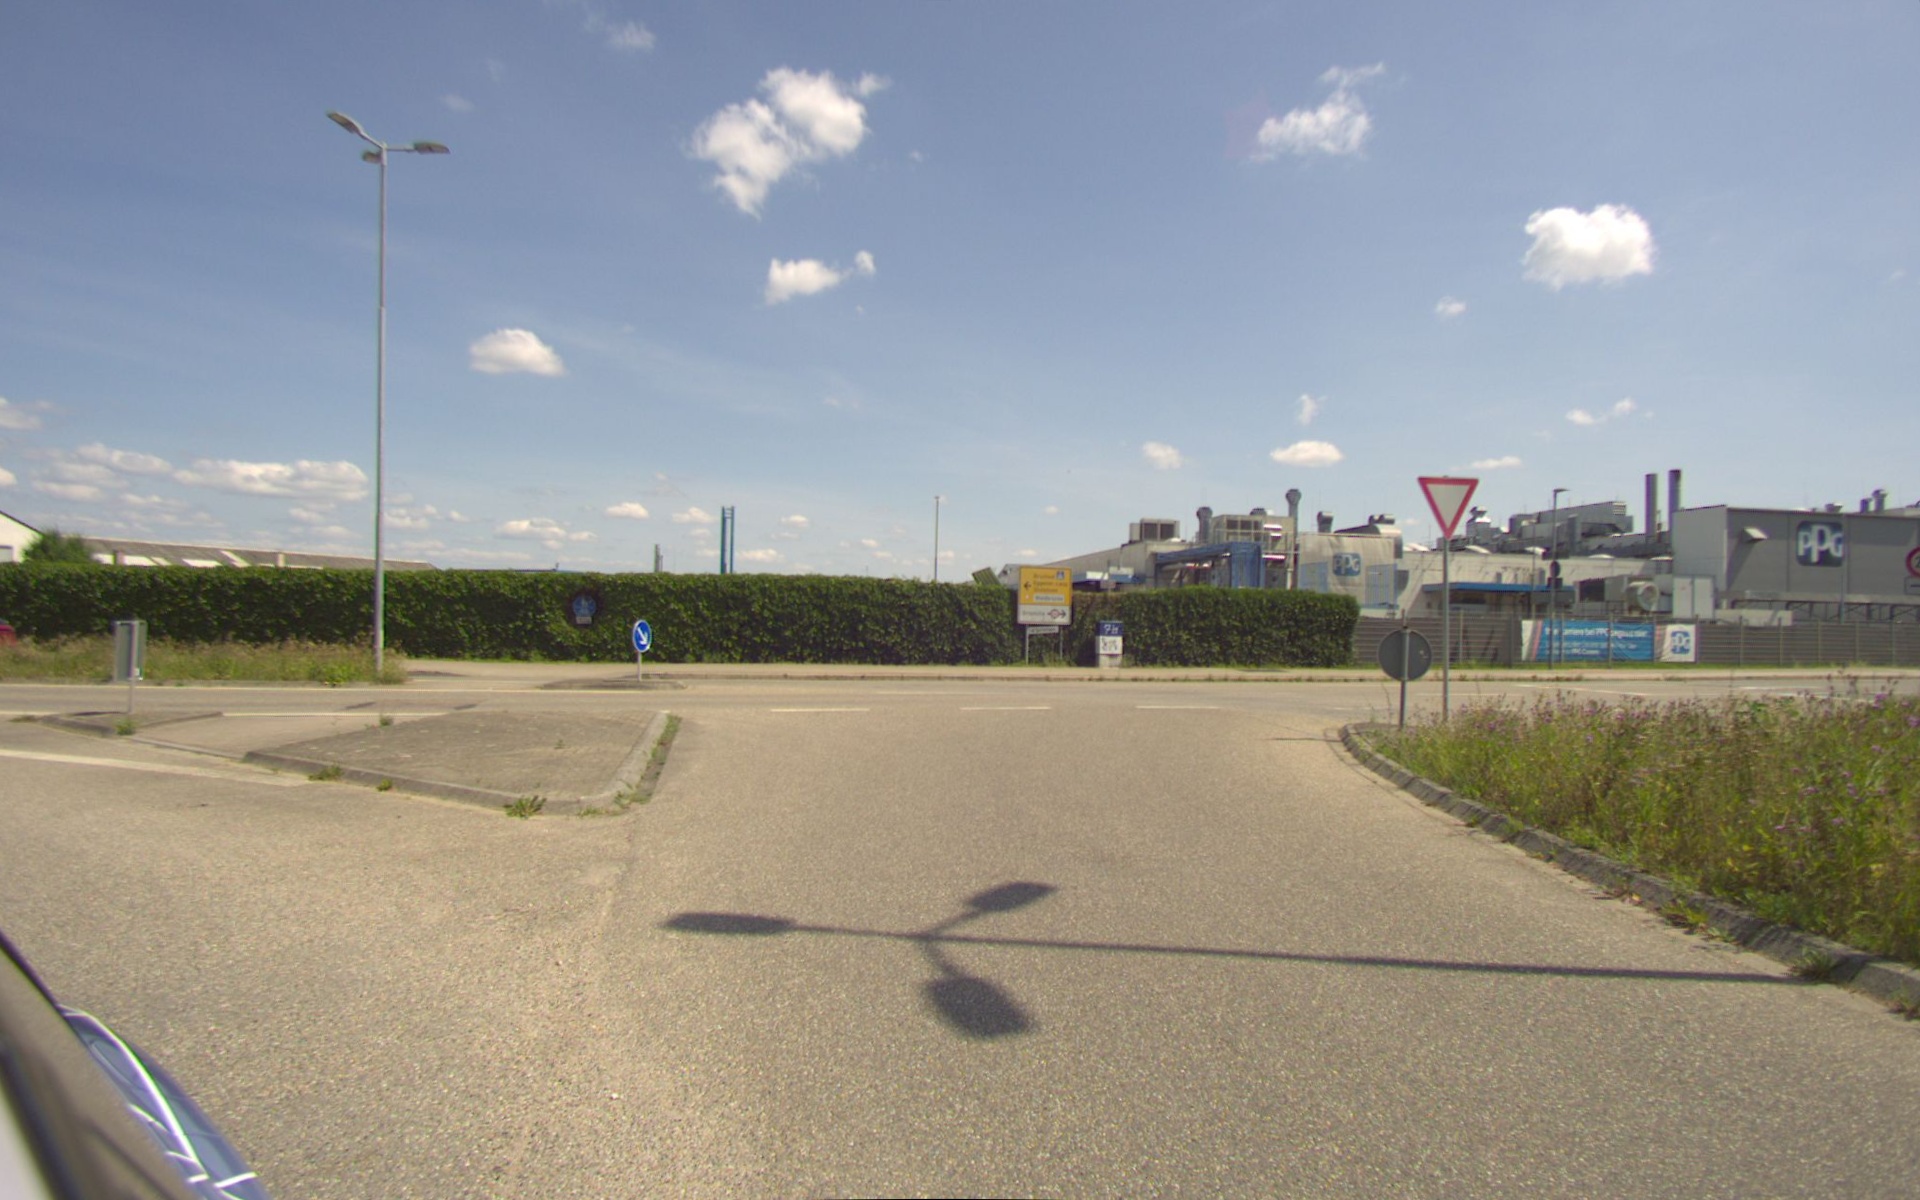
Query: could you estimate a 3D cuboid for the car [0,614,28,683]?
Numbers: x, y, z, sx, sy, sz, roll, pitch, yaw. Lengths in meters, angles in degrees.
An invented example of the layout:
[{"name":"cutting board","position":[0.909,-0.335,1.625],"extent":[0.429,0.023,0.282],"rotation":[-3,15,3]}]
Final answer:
[{"name":"car","position":[-22.705,0.998,21.245],"extent":[4.319,1.475,1.888],"rotation":[1,-2,-6]}]
